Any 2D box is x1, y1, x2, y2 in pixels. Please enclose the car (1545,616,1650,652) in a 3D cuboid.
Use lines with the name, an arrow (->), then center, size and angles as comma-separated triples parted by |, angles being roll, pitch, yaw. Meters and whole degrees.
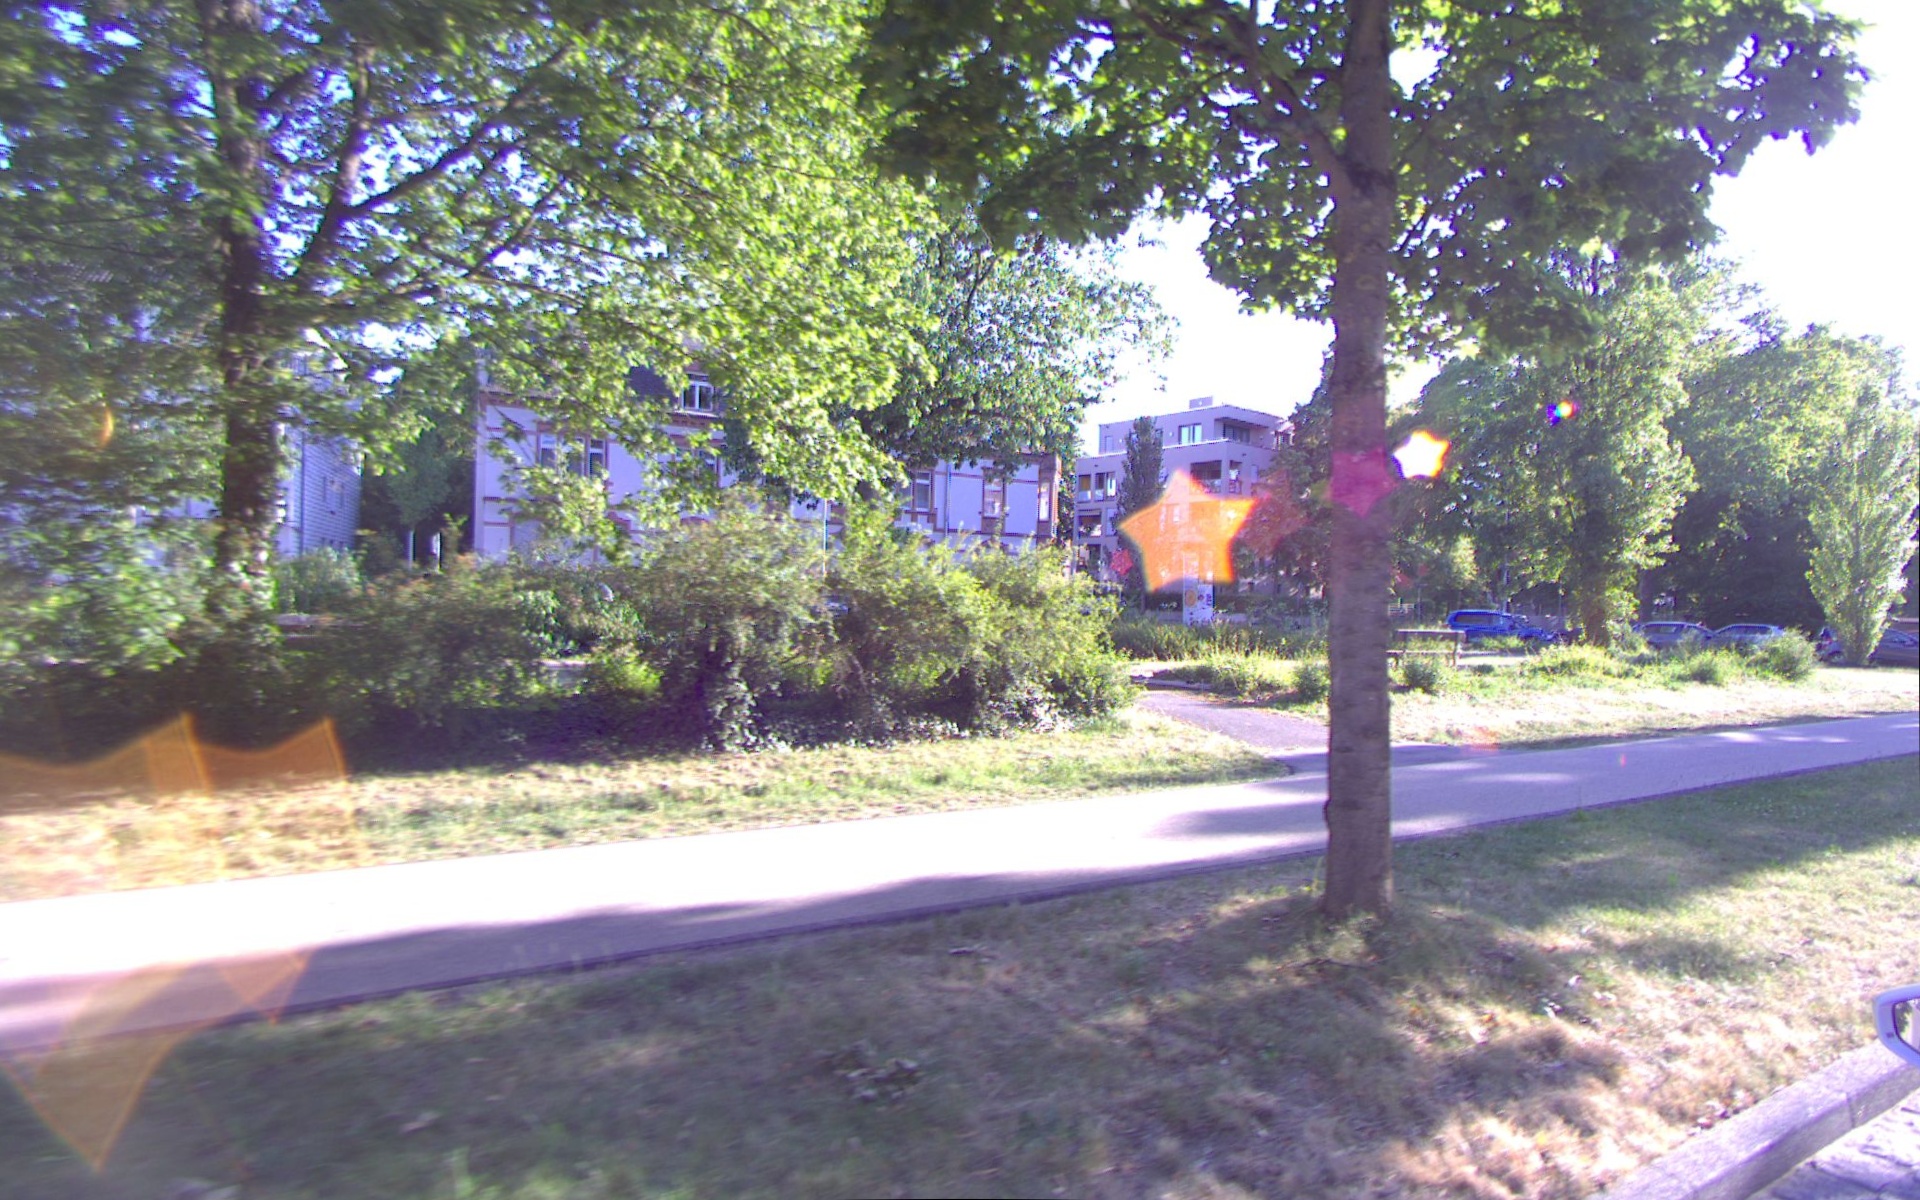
car -> 29.161, 1.523, 45.963 | 3.934, 1.439, 1.766 | 2, 1, 35

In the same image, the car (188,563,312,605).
car -> -25.410, -0.581, 36.068 | 3.330, 1.336, 1.629 | 2, 2, -24

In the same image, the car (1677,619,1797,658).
car -> 33.287, 1.606, 43.185 | 3.934, 1.439, 1.766 | 2, 1, 35

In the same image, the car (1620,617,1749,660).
car -> 28.281, 1.465, 39.348 | 3.931, 1.439, 1.767 | 2, 1, 33

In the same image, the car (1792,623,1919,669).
car -> 32.842, 1.639, 36.346 | 3.929, 1.439, 1.768 | 2, 1, 31

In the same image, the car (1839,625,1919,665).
car -> 37.901, 1.815, 40.166 | 3.858, 1.439, 1.767 | 2, 1, 33

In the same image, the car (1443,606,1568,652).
car -> 23.251, 1.181, 42.896 | 4.470, 1.708, 1.765 | 2, 1, 36

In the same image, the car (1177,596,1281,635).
car -> 8.854, 0.499, 33.012 | 3.058, 1.175, 1.522 | 2, 1, -27
